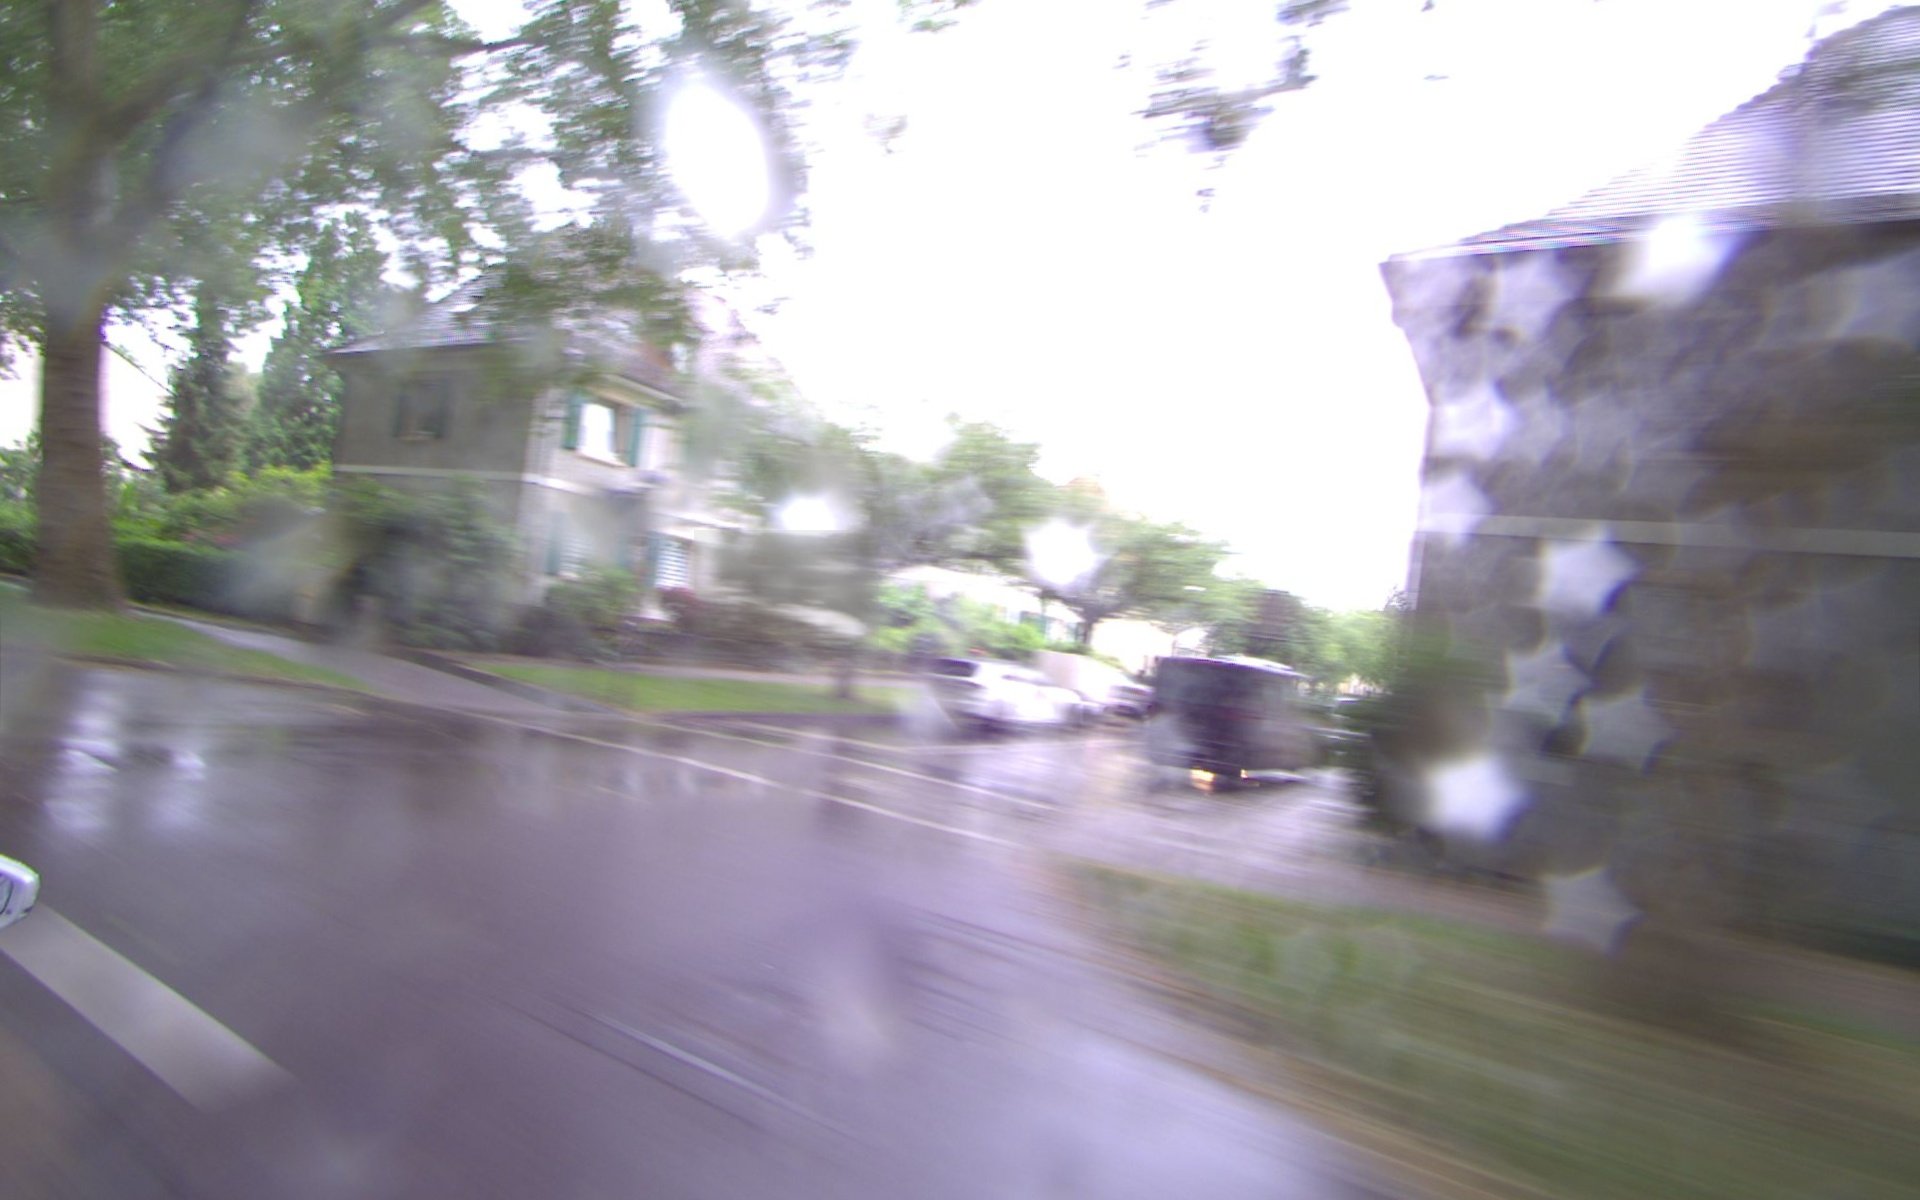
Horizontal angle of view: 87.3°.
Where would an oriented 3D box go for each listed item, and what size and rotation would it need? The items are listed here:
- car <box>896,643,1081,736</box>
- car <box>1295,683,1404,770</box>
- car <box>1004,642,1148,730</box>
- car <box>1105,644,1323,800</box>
[{"bbox_3d":[0.737,2.004,21.813,1.954,1.537,4.416,7,-4,31],"label":"car"},{"bbox_3d":[11.149,3.604,28.606,1.967,1.991,4.610,7,-3,31],"label":"car"},{"bbox_3d":[3.137,2.313,26.427,1.967,1.839,4.300,7,-3,31],"label":"car"},{"bbox_3d":[4.429,2.050,16.913,2.137,1.991,4.610,7,-3,31],"label":"car"}]
